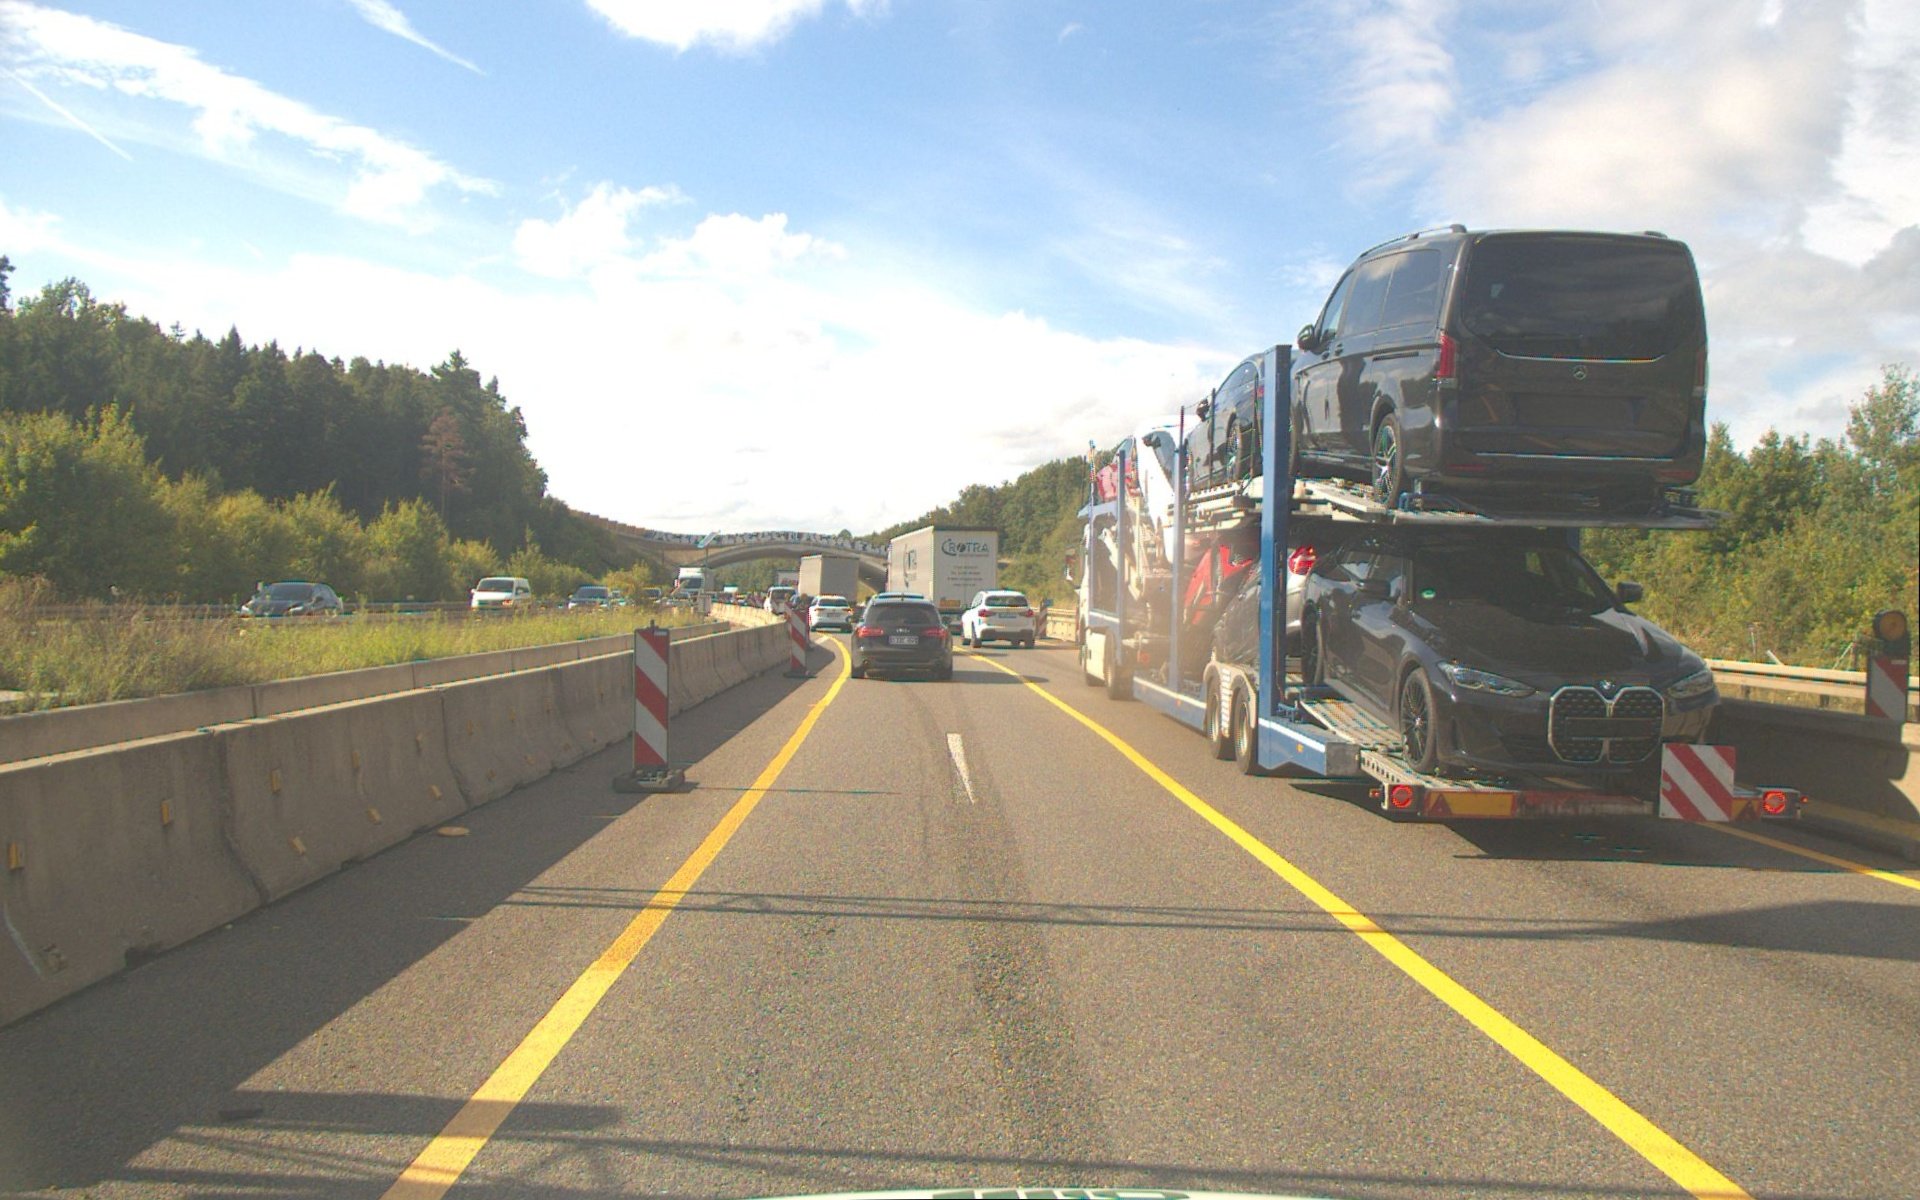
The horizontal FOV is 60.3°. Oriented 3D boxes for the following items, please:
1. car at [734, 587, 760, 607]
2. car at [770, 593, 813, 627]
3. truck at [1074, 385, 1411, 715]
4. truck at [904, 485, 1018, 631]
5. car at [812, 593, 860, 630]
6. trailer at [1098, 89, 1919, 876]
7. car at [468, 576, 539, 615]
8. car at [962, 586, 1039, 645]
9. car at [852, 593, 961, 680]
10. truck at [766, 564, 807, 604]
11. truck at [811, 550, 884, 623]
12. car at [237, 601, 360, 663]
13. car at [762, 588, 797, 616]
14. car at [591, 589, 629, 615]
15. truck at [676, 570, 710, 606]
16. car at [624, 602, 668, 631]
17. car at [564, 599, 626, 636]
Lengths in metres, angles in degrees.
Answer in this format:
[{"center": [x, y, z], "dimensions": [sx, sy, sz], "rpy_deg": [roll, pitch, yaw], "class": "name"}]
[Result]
[{"center": [-17.694, -0.266, 137.475], "dimensions": [1.747, 1.630, 4.004], "rpy_deg": [1, 0, -13], "class": "car"}, {"center": [-8.685, 0.490, 85.056], "dimensions": [1.856, 1.672, 4.008], "rpy_deg": [1, 0, -10], "class": "car"}, {"center": [3.992, -0.659, 25.686], "dimensions": [3.685, 4.269, 7.949], "rpy_deg": [1, 0, -1], "class": "truck"}, {"center": [-0.249, -1.598, 70.377], "dimensions": [3.605, 5.447, 16.187], "rpy_deg": [1, 0, -4], "class": "truck"}, {"center": [-5.117, 0.454, 68.027], "dimensions": [1.854, 1.472, 3.995], "rpy_deg": [1, 0, -6], "class": "car"}, {"center": [4.101, -0.645, 17.208], "dimensions": [3.650, 4.269, 16.224], "rpy_deg": [1, 0, -1], "class": "trailer"}, {"center": [-20.324, -0.196, 73.860], "dimensions": [1.928, 1.630, 4.945], "rpy_deg": [1, 0, -2], "class": "car"}, {"center": [1.187, 0.439, 50.055], "dimensions": [1.853, 1.672, 4.013], "rpy_deg": [1, 0, -5], "class": "car"}, {"center": [-1.010, 0.628, 30.519], "dimensions": [1.852, 1.472, 3.998], "rpy_deg": [1, 0, -3], "class": "car"}, {"center": [-18.179, -1.615, 172.885], "dimensions": [3.587, 3.997, 11.043], "rpy_deg": [1, 0, -9], "class": "truck"}, {"center": [-7.872, -0.885, 113.772], "dimensions": [4.238, 4.681, 11.105], "rpy_deg": [1, 0, -8], "class": "truck"}, {"center": [-18.709, 0.871, 46.986], "dimensions": [1.742, 1.630, 4.674], "rpy_deg": [1, 0, -2], "class": "car"}, {"center": [-10.999, 0.111, 100.617], "dimensions": [1.855, 1.672, 4.009], "rpy_deg": [1, 0, -9], "class": "car"}, {"center": [-22.788, 0.117, 107.909], "dimensions": [1.930, 1.630, 4.940], "rpy_deg": [1, 0, -6], "class": "car"}, {"center": [-26.088, -1.174, 161.937], "dimensions": [2.702, 3.356, 5.808], "rpy_deg": [1, 0, -4], "class": "truck"}, {"center": [-18.830, 0.968, 99.331], "dimensions": [1.929, 1.630, 4.944], "rpy_deg": [1, 0, -3], "class": "car"}, {"center": [-16.792, 0.774, 76.351], "dimensions": [1.928, 1.630, 4.945], "rpy_deg": [1, 0, -2], "class": "car"}]
